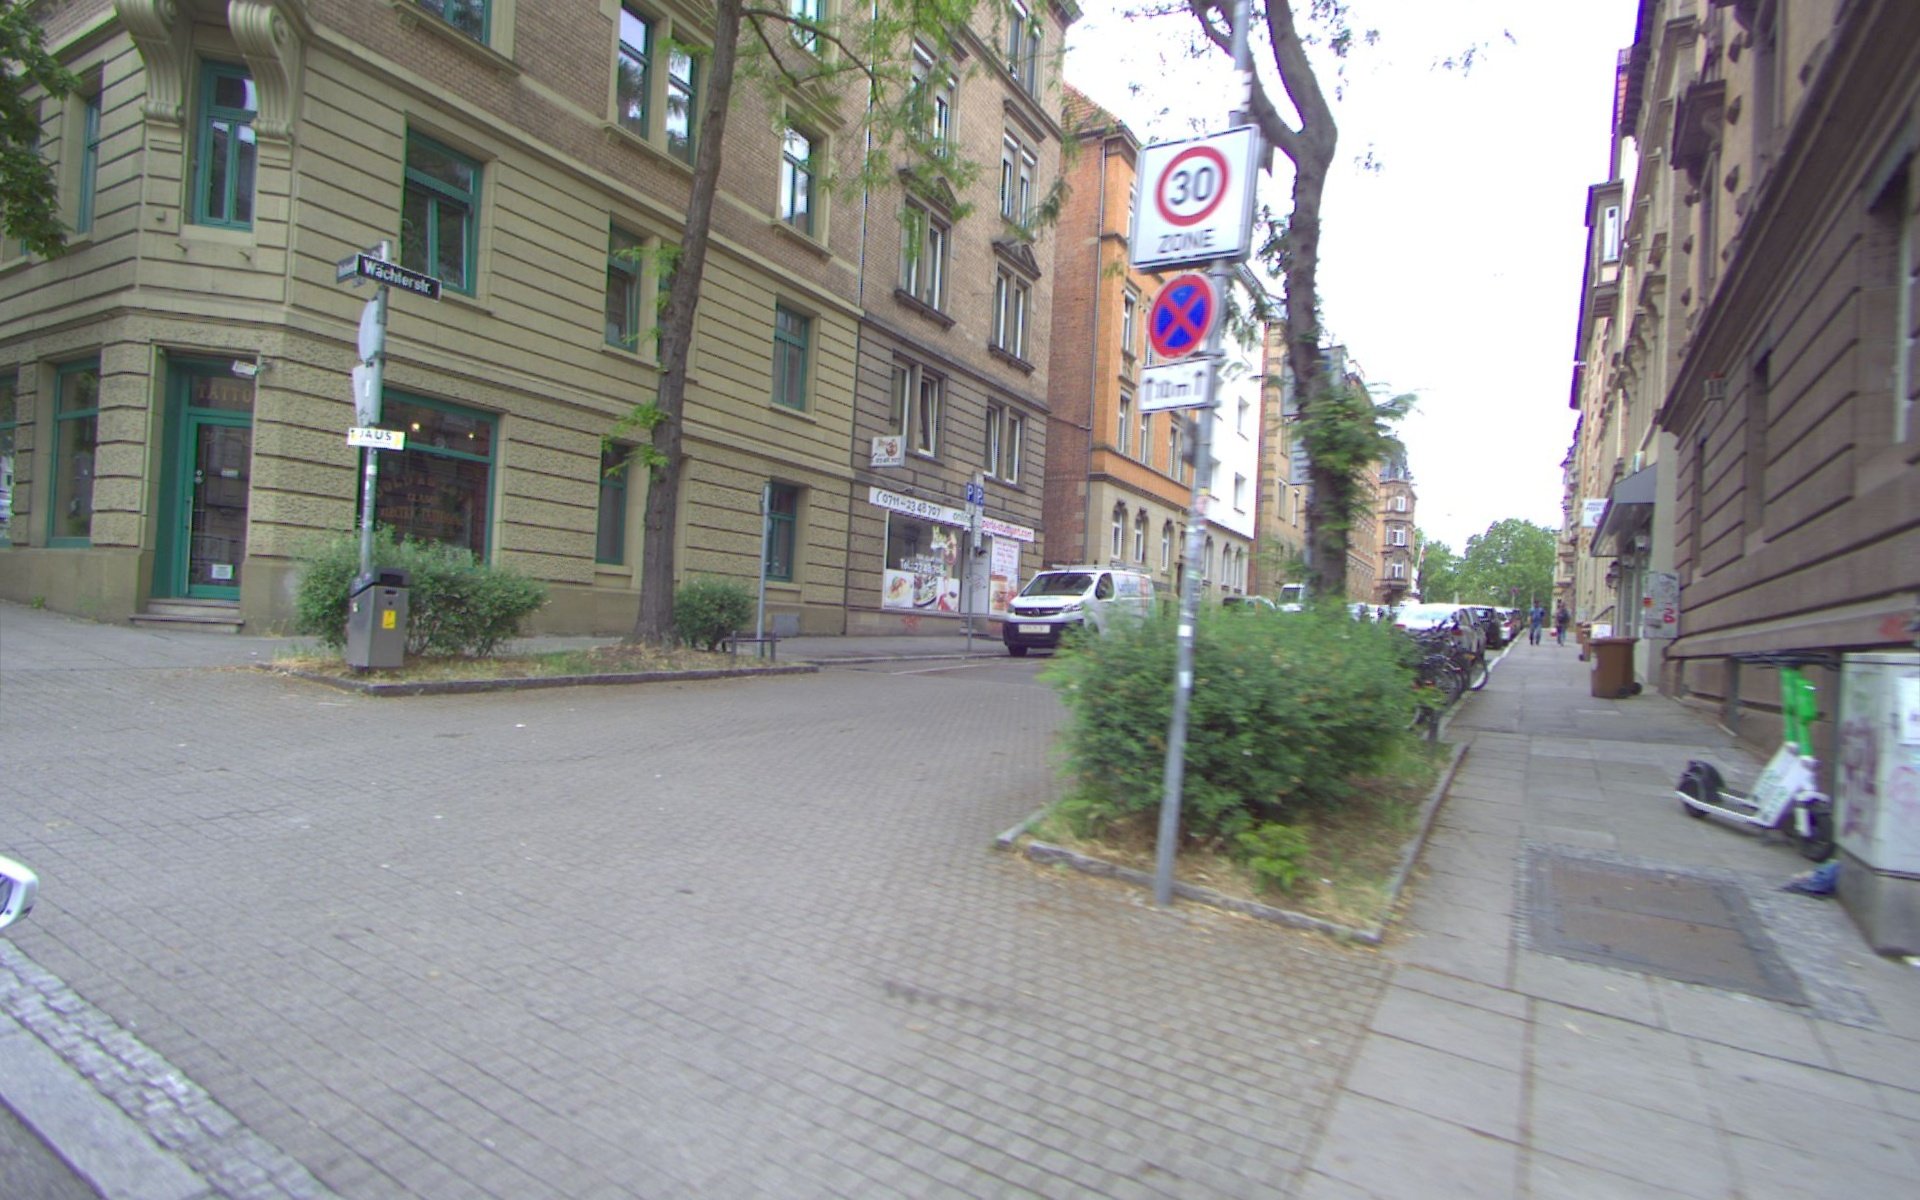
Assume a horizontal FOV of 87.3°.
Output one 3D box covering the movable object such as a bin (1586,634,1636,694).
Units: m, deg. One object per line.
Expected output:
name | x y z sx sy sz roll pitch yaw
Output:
movable object such as a bin | 9.997 0.974 15.463 0.558 0.897 0.430 -1 -1 20

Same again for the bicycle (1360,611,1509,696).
bicycle | 6.922 0.760 14.780 1.886 1.114 0.593 3 2 21

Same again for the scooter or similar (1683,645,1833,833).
scooter or similar | 5.332 0.893 6.774 0.235 1.093 0.974 2 3 5

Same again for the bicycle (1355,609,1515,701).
bicycle | 6.461 0.731 13.786 1.886 1.114 0.508 3 2 21

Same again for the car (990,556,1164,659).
car | 2.772 0.223 22.536 1.951 2.038 5.249 0 -1 30

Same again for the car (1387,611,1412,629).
car | 30.243 1.380 69.148 1.183 1.162 2.775 4 1 30

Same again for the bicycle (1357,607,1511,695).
bicycle | 6.679 0.700 14.262 1.886 1.114 0.508 3 2 21

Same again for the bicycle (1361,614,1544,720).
bicycle | 5.937 0.775 12.183 1.890 1.114 0.507 3 2 32

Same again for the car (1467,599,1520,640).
car | 22.058 0.784 41.555 1.616 1.529 3.858 4 1 31

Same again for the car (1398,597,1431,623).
car | 35.375 0.806 78.299 1.738 1.879 4.728 4 1 30

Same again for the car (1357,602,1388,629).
car | 23.522 0.898 57.328 1.183 1.414 2.775 4 2 30

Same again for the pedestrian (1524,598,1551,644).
pedestrian | 22.282 0.805 38.814 0.712 1.675 0.684 6 -1 31

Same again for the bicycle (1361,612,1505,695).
bicycle | 7.173 0.796 15.354 1.886 1.114 0.564 3 2 21

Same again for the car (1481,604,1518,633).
car | 31.251 1.058 58.259 1.616 1.529 3.858 4 1 31

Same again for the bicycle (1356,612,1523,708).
bicycle | 6.267 0.767 13.245 1.886 1.114 0.508 3 2 21

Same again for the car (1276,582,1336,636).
car | 14.701 0.380 42.679 1.648 2.116 3.424 4 2 30

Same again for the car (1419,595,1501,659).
car | 13.675 0.708 27.406 1.616 1.529 3.858 4 1 31

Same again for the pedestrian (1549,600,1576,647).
pedestrian | 23.056 0.893 38.487 0.712 1.675 0.684 6 -1 31

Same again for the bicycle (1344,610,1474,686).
bicycle | 7.406 0.773 16.685 1.886 1.114 0.590 3 2 22

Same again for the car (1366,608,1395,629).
car | 25.145 1.095 60.146 1.183 1.162 2.775 4 1 30

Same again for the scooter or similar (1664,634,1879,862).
scooter or similar | 4.990 0.855 6.272 0.280 1.201 1.242 1 3 1

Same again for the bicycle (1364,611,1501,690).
bicycle | 7.464 0.782 15.985 1.886 1.114 0.564 3 2 21

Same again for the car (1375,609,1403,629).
car | 27.139 1.207 63.623 1.183 1.162 2.775 4 1 30

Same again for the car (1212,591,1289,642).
car | 10.149 0.532 34.989 1.649 1.600 3.423 4 2 32

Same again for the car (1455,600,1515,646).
car | 19.419 0.830 37.145 1.616 1.529 3.858 4 1 31

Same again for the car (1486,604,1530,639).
car | 26.373 1.040 48.347 1.616 1.529 3.858 4 1 31

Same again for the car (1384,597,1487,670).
car | 10.927 0.719 22.988 1.616 1.425 4.267 4 1 31

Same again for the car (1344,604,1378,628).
car | 21.080 0.844 52.876 1.183 1.162 2.775 4 1 30
